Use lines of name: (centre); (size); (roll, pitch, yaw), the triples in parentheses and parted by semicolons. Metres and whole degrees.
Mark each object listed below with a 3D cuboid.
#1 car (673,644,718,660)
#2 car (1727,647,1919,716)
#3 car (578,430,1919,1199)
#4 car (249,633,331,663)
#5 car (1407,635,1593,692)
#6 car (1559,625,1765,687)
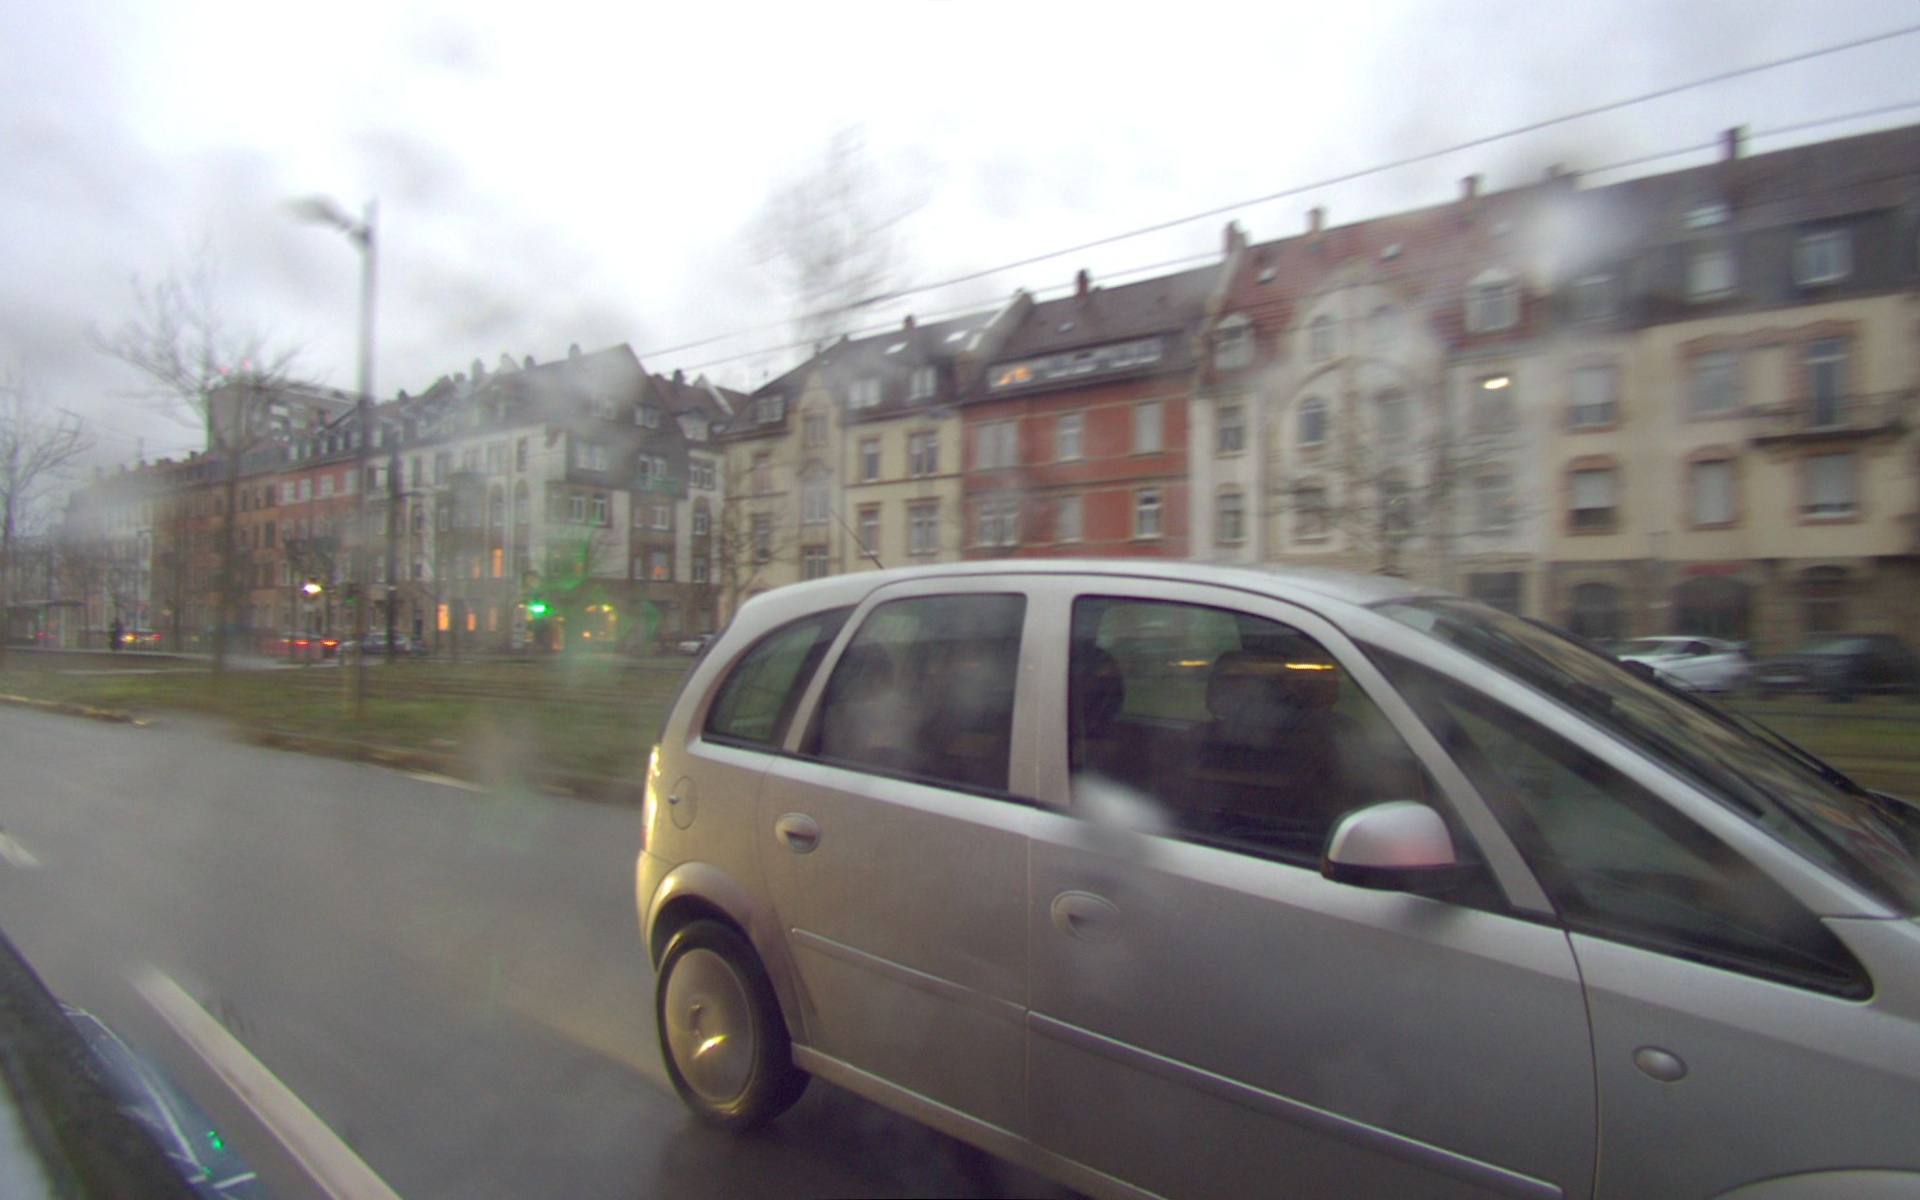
car: (-18.334, 3.597, 70.311); (1.328, 1.083, 2.865); (-1, -3, 34)
car: (18.854, 1.685, 21.617); (3.931, 1.342, 2.006); (1, -2, -18)
car: (0.978, 0.617, 2.509); (4.048, 1.612, 1.792); (-1, -1, 38)
car: (-34.060, 2.399, 51.415); (4.688, 1.464, 1.848); (-1, -3, 35)
car: (13.656, 1.569, 25.644); (3.931, 1.342, 2.006); (1, -2, -20)
car: (16.270, 1.266, 23.505); (3.931, 1.342, 2.006); (1, -2, -20)
